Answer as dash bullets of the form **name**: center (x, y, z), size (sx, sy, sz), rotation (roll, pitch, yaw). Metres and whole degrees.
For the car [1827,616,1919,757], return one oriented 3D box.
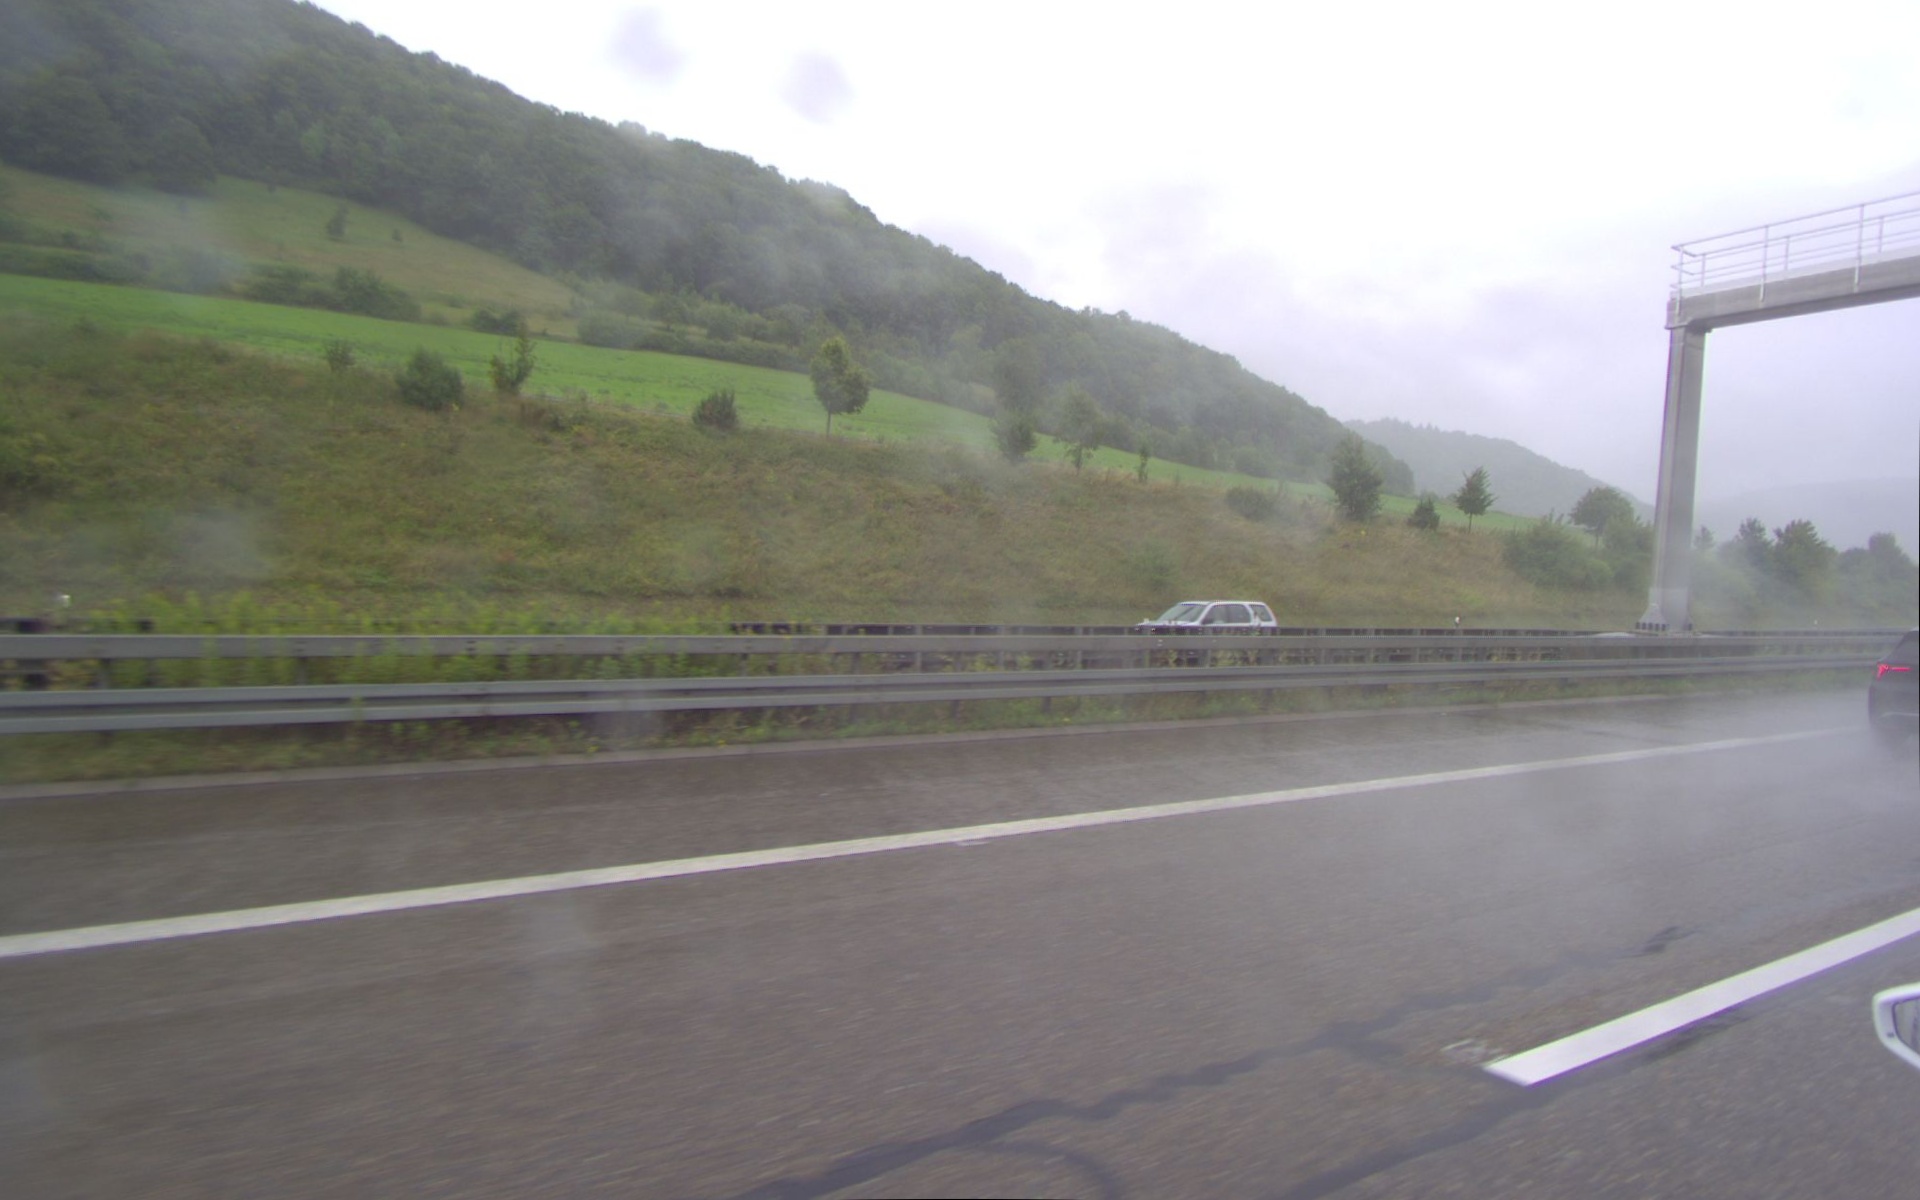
- **car**: center (12.826, 1.045, 12.398), size (4.743, 1.536, 2.387), rotation (1, 1, -39)

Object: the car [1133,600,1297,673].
- **car**: center (6.515, 0.903, 25.554), size (3.954, 1.714, 1.767), rotation (1, 0, -31)
